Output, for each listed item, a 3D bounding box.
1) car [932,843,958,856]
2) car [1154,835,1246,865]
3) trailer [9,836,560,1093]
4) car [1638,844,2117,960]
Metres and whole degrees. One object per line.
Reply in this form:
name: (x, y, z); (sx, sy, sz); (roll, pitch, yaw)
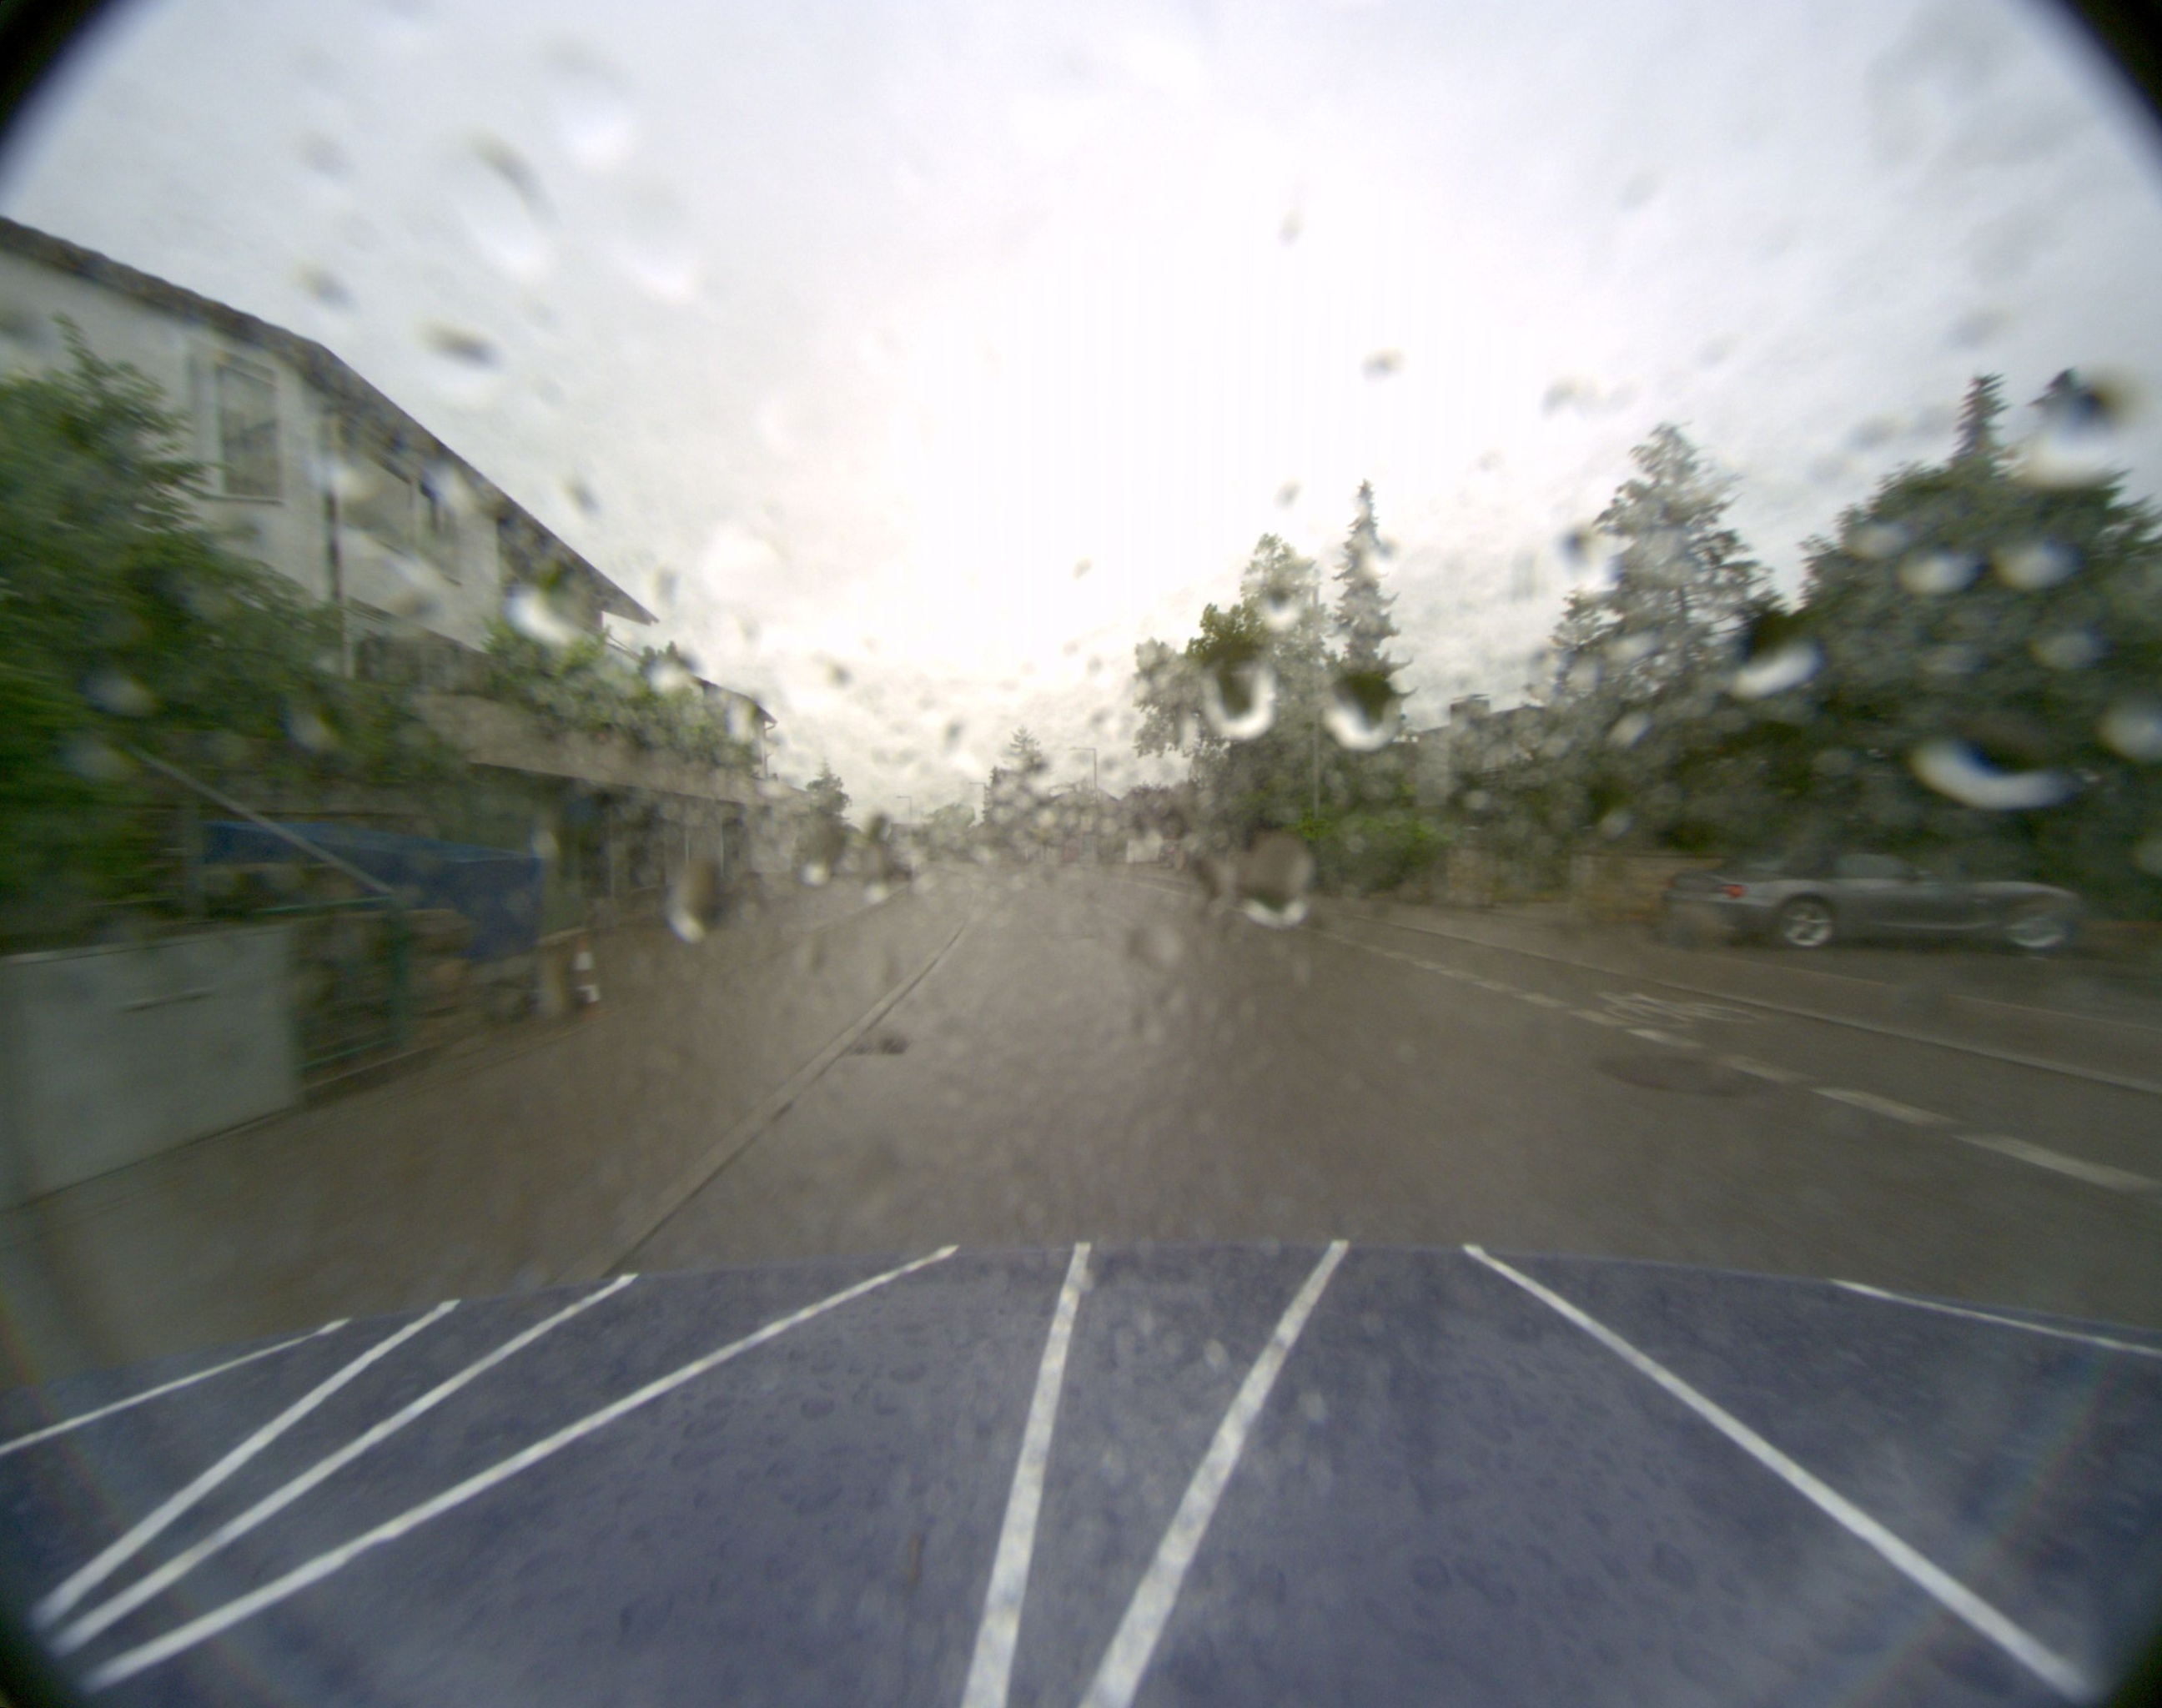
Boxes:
car: (-17.036, -0.560, 95.288); (3.039, 1.472, 1.454); (-2, 1, -3)
car: (6.459, -0.246, 41.448); (4.557, 1.467, 1.836); (-2, 1, -15)
trailer: (-6.215, 0.747, 6.302); (2.360, 1.738, 1.999); (-1, 1, -3)
car: (9.812, 0.549, 9.687); (3.996, 1.264, 1.874); (-1, 1, 4)
